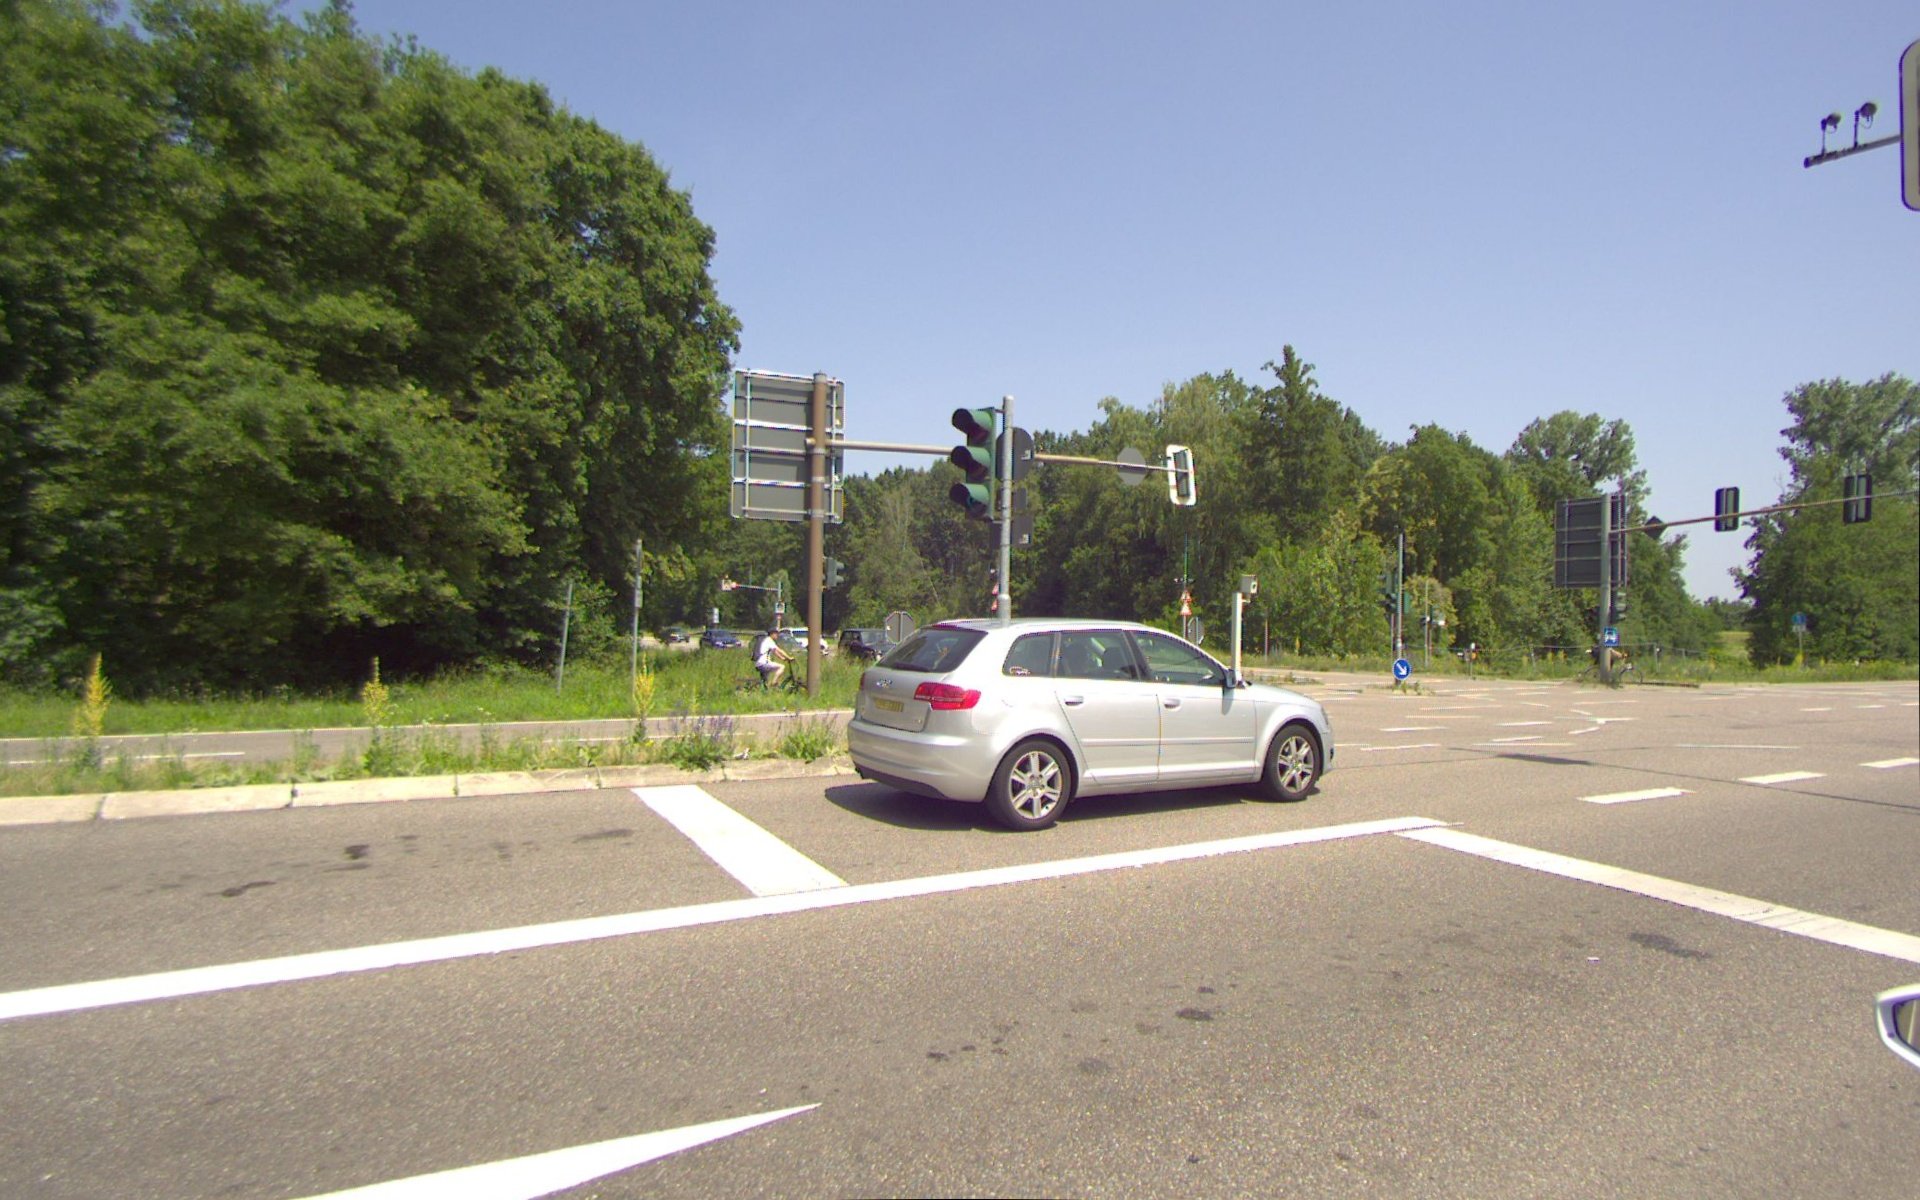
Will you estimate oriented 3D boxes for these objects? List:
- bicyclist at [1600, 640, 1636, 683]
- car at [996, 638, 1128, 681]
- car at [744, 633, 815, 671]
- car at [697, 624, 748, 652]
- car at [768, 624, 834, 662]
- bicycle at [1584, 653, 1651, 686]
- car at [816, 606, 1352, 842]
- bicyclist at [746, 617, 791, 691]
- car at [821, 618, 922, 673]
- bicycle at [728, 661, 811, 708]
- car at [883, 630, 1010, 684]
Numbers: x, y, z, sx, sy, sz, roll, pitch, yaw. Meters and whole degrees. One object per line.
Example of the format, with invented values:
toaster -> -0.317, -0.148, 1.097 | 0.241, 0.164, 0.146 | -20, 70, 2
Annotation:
bicyclist -> 22.977, 2.129, 35.094 | 0.701, 1.479, 0.927 | 1, -2, 8
car -> 3.307, 1.947, 33.591 | 2.080, 1.307, 4.784 | 2, -2, -29
car -> -8.546, 2.421, 47.242 | 1.851, 1.657, 4.377 | 2, -2, -31
car -> -15.756, 2.467, 66.475 | 1.977, 1.780, 4.781 | 2, -2, -31
car -> -8.629, 2.304, 54.227 | 2.041, 1.920, 4.785 | 2, -2, -29
bicycle -> 22.949, 2.410, 35.078 | 1.831, 1.077, 0.725 | 1, -2, 8
car -> 1.059, 0.811, 7.927 | 3.970, 1.410, 1.755 | 2, 0, -32
bicyclist -> -3.952, 1.108, 20.685 | 0.798, 1.484, 0.658 | 1, -2, -20
car -> -3.394, 1.687, 37.729 | 1.976, 1.923, 4.783 | 2, -2, -30
bicycle -> -3.919, 1.729, 20.669 | 1.581, 0.935, 0.564 | 1, -2, -21
car -> -0.536, 1.796, 32.667 | 2.104, 1.588, 4.784 | 2, -2, -29
